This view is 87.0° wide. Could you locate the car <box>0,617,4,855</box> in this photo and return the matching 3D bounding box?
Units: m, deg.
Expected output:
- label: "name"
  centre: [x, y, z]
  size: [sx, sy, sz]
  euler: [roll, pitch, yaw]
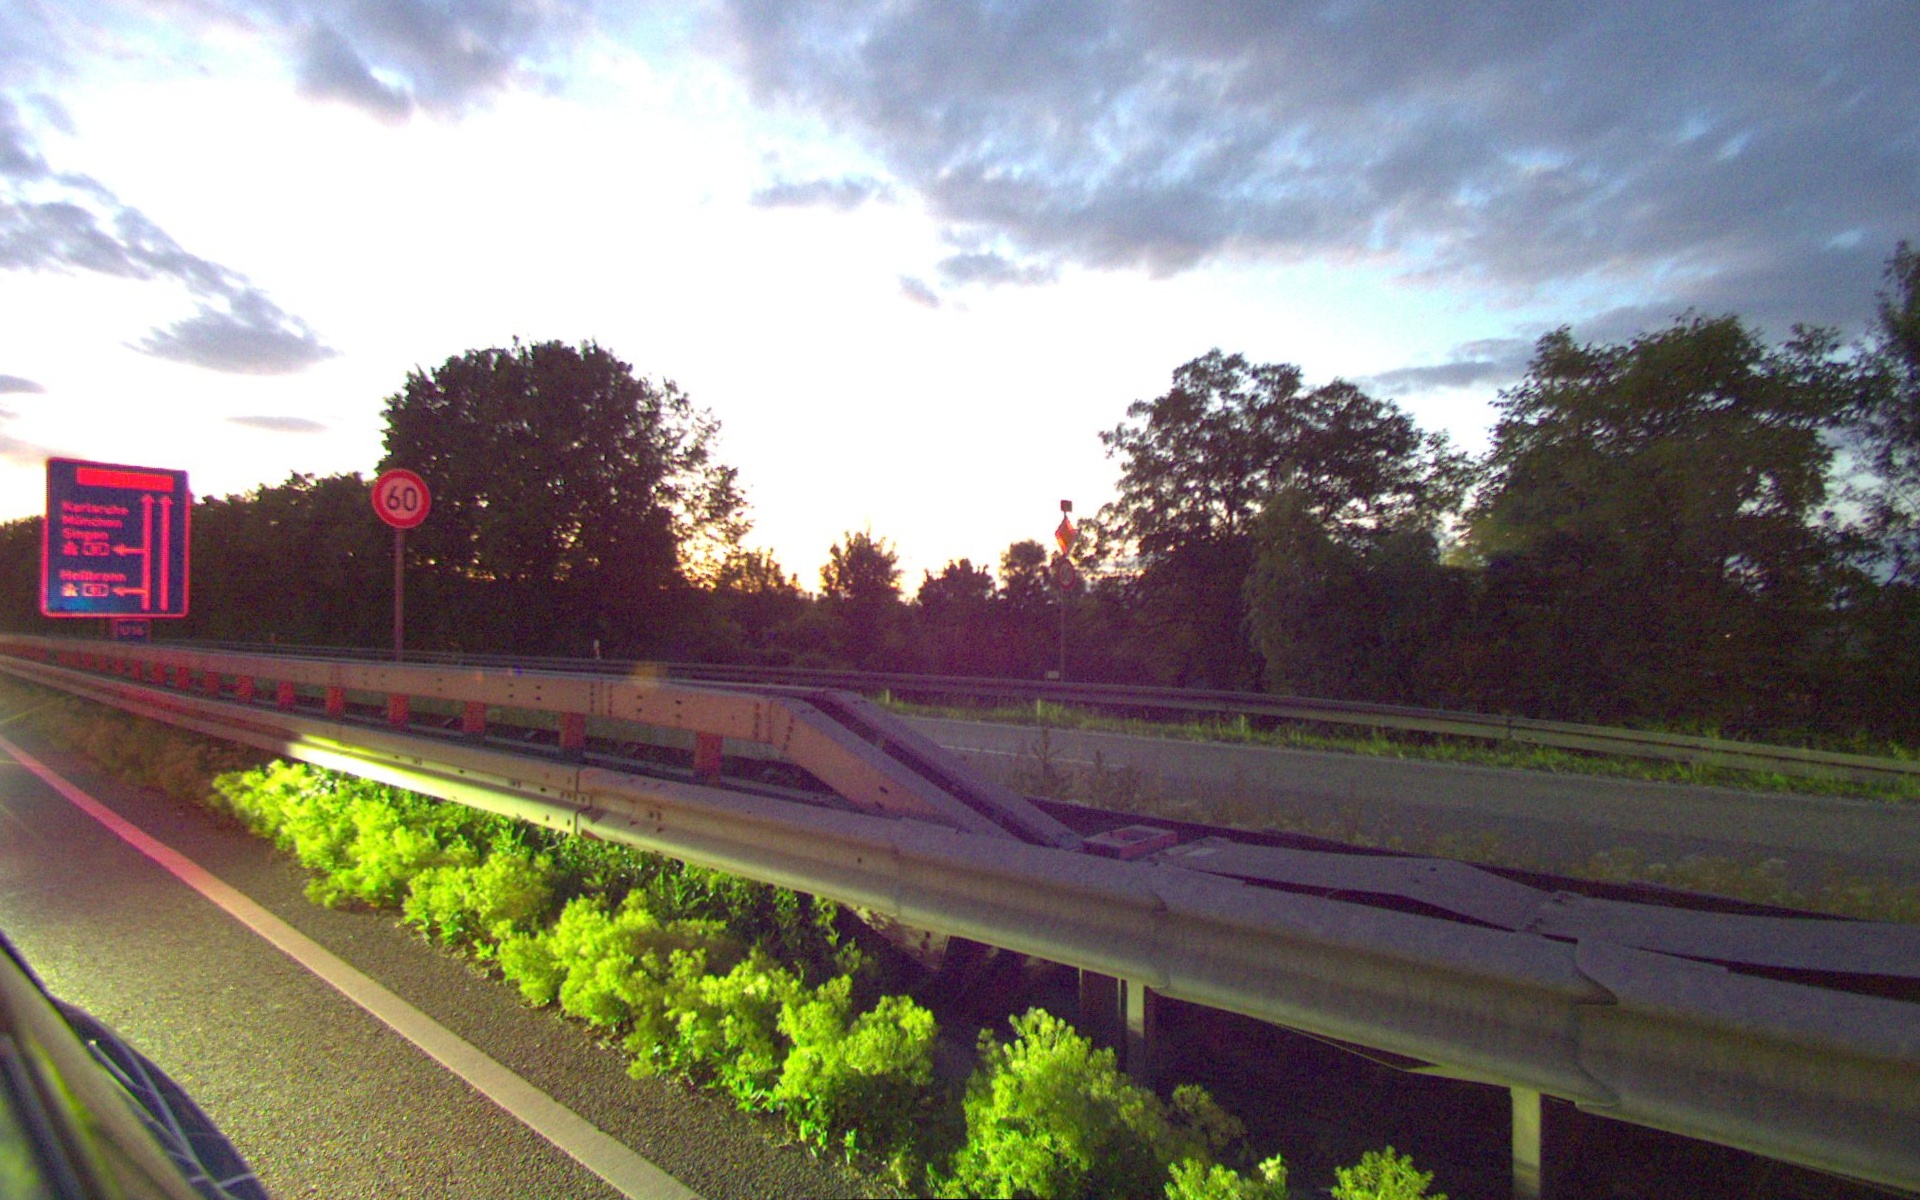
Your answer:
- label: "car"
  centre: [-8.329, 0.898, 7.110]
  size: [4.511, 1.492, 1.877]
  euler: [-1, -1, 40]
